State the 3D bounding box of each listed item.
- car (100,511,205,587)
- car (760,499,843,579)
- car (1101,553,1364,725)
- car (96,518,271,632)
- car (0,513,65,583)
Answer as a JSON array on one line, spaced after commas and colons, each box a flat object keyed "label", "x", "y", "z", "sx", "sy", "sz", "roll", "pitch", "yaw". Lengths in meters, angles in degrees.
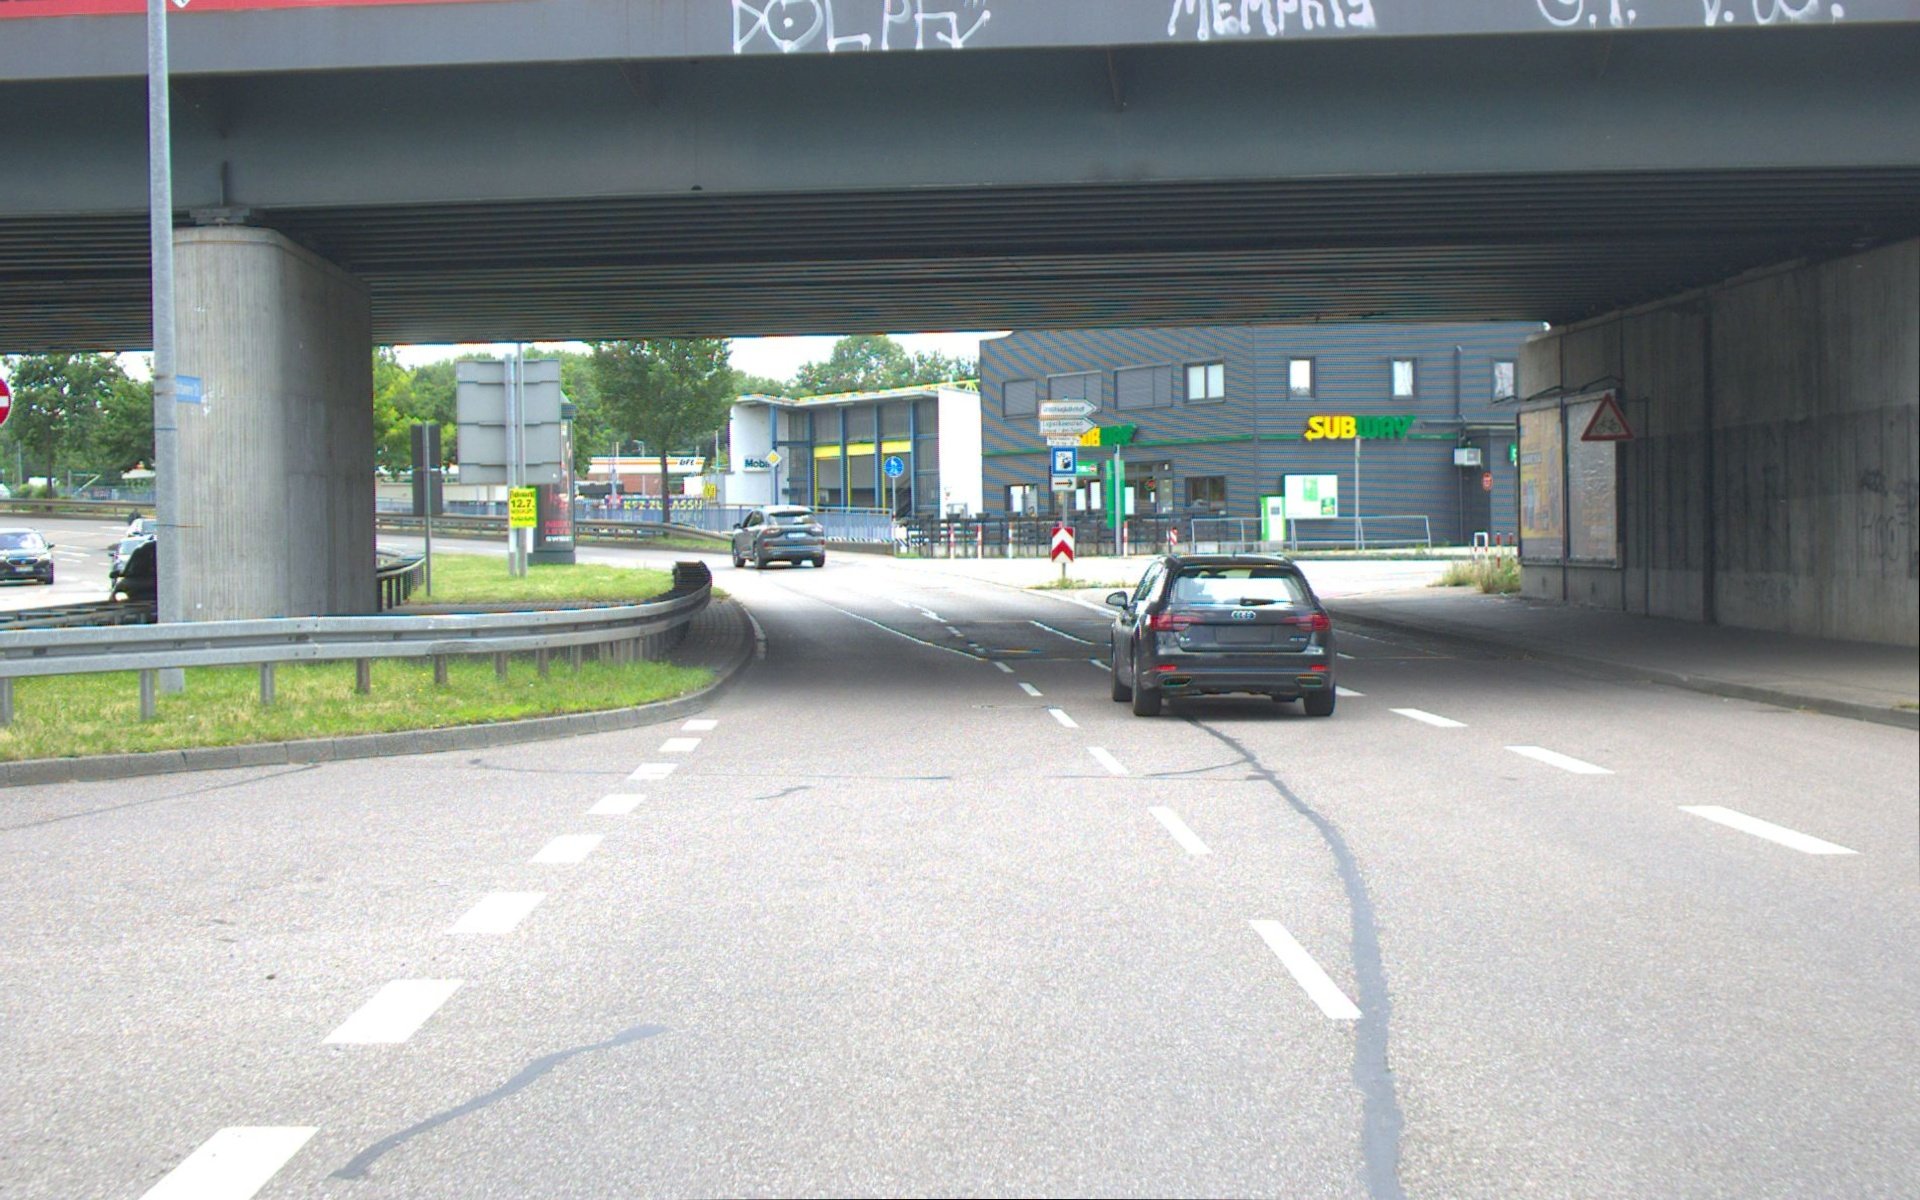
[{"label": "car", "x": -22.195, "y": -1.427, "z": 94.616, "sx": 1.993, "sy": 2.007, "sz": 4.337, "roll": -1, "pitch": 1, "yaw": -2}, {"label": "car", "x": -4.223, "y": -1.631, "z": 92.218, "sx": 1.993, "sy": 2.030, "sz": 4.713, "roll": -1, "pitch": 1, "yaw": 0}, {"label": "car", "x": 2.432, "y": 0.305, "z": 31.794, "sx": 1.993, "sy": 1.385, "sz": 4.576, "roll": 0, "pitch": 2, "yaw": -1}, {"label": "car", "x": -12.719, "y": -0.439, "z": 56.586, "sx": 1.993, "sy": 1.753, "sz": 4.717, "roll": -1, "pitch": 1, "yaw": -3}, {"label": "car", "x": -27.800, "y": -1.561, "z": 102.574, "sx": 1.993, "sy": 2.007, "sz": 4.338, "roll": -1, "pitch": 1, "yaw": -14}]
